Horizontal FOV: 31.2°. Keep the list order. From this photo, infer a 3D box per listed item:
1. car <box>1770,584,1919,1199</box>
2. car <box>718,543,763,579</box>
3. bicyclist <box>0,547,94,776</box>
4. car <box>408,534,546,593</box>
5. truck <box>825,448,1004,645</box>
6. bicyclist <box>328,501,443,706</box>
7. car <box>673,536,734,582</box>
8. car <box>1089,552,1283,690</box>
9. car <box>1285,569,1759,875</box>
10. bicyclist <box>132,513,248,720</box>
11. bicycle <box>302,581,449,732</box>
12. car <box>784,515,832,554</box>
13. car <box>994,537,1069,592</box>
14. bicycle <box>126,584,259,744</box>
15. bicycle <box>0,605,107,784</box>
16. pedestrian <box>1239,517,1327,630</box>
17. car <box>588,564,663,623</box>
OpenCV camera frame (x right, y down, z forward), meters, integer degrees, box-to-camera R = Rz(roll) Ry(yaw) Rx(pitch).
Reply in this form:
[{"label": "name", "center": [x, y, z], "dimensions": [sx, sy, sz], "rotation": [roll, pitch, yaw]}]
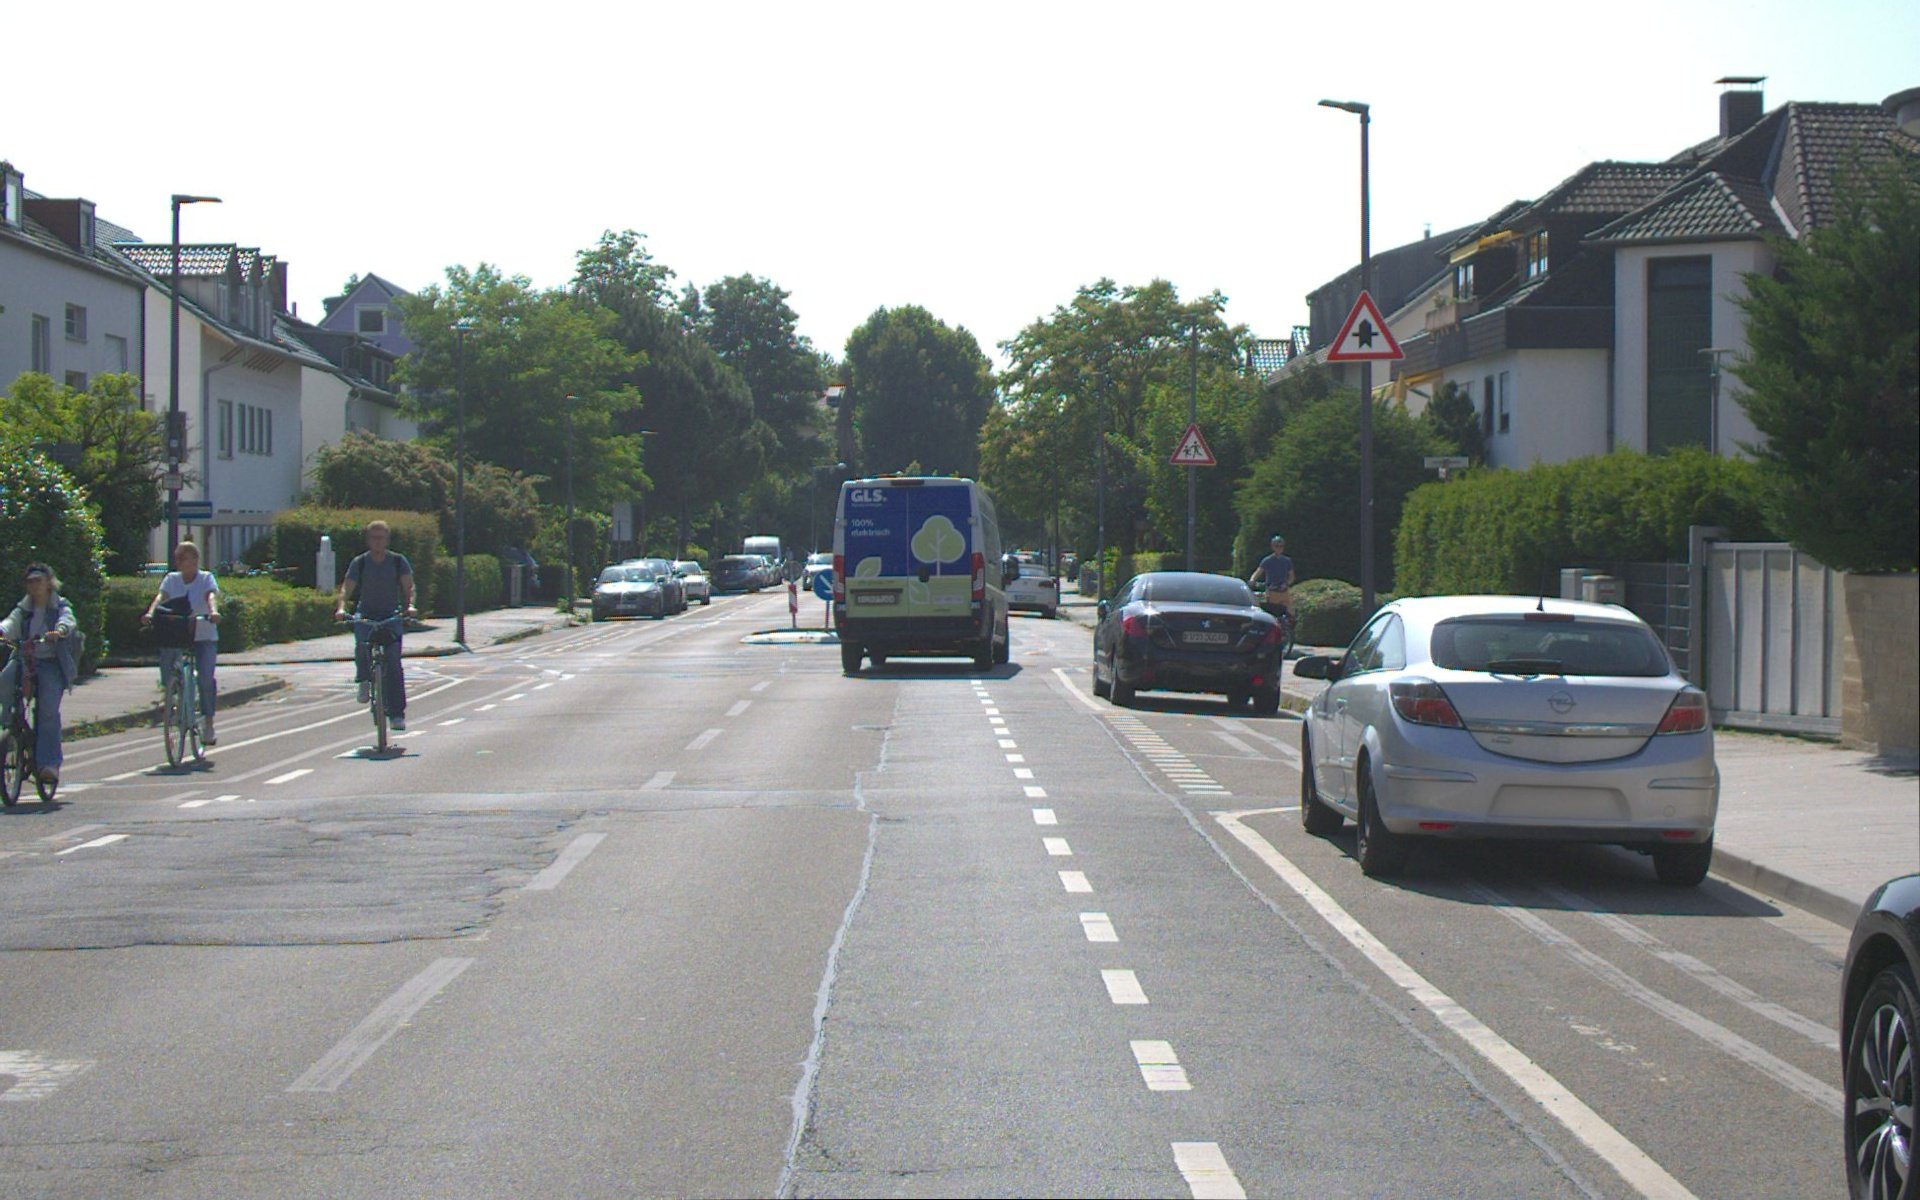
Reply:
[{"label": "car", "center": [2.924, 0.752, 6.213], "dimensions": [1.722, 1.444, 4.169], "rotation": [3, 0, -2]}, {"label": "car", "center": [-9.357, -1.684, 146.881], "dimensions": [1.780, 1.455, 4.086], "rotation": [-1, 1, -2]}, {"label": "bicyclist", "center": [-6.014, 0.389, 22.353], "dimensions": [0.490, 1.449, 0.964], "rotation": [-2, 0, 0]}, {"label": "car", "center": [-15.011, -1.146, 106.971], "dimensions": [3.987, 1.753, 2.000], "rotation": [1, 1, 0]}, {"label": "truck", "center": [-0.573, -0.718, 47.309], "dimensions": [2.272, 2.562, 4.392], "rotation": [1, 0, 1]}, {"label": "bicyclist", "center": [-4.780, 0.024, 28.653], "dimensions": [0.749, 1.662, 1.022], "rotation": [-2, 0, 0]}, {"label": "car", "center": [-8.364, -1.355, 112.221], "dimensions": [1.785, 1.435, 4.000], "rotation": [-1, 1, -2]}, {"label": "car", "center": [2.388, 0.188, 37.267], "dimensions": [1.736, 1.324, 4.260], "rotation": [2, 1, -1]}, {"label": "car", "center": [2.819, 0.580, 18.099], "dimensions": [1.736, 1.324, 4.076], "rotation": [4, 0, 0]}, {"label": "bicyclist", "center": [-6.033, 0.122, 26.969], "dimensions": [0.676, 1.575, 0.859], "rotation": [-2, 0, 0]}, {"label": "bicycle", "center": [-4.802, 0.442, 28.389], "dimensions": [0.782, 1.162, 2.420], "rotation": [-2, 0, 0]}, {"label": "car", "center": [-6.697, -2.895, 151.951], "dimensions": [1.915, 1.661, 4.506], "rotation": [-1, 0, 0]}, {"label": "car", "center": [1.891, -0.968, 92.277], "dimensions": [1.740, 1.397, 4.074], "rotation": [1, 1, -2]}, {"label": "bicycle", "center": [-5.966, 0.474, 26.802], "dimensions": [0.559, 1.181, 2.036], "rotation": [-2, 0, 0]}, {"label": "bicycle", "center": [-6.006, 0.599, 22.285], "dimensions": [0.600, 1.101, 1.346], "rotation": [-2, 0, 0]}, {"label": "pedestrian", "center": [5.393, -0.449, 57.458], "dimensions": [0.898, 1.866, 1.189], "rotation": [0, 0, -34]}, {"label": "car", "center": [-8.618, -0.175, 88.788], "dimensions": [1.785, 1.435, 4.155], "rotation": [-1, 1, -4]}]
